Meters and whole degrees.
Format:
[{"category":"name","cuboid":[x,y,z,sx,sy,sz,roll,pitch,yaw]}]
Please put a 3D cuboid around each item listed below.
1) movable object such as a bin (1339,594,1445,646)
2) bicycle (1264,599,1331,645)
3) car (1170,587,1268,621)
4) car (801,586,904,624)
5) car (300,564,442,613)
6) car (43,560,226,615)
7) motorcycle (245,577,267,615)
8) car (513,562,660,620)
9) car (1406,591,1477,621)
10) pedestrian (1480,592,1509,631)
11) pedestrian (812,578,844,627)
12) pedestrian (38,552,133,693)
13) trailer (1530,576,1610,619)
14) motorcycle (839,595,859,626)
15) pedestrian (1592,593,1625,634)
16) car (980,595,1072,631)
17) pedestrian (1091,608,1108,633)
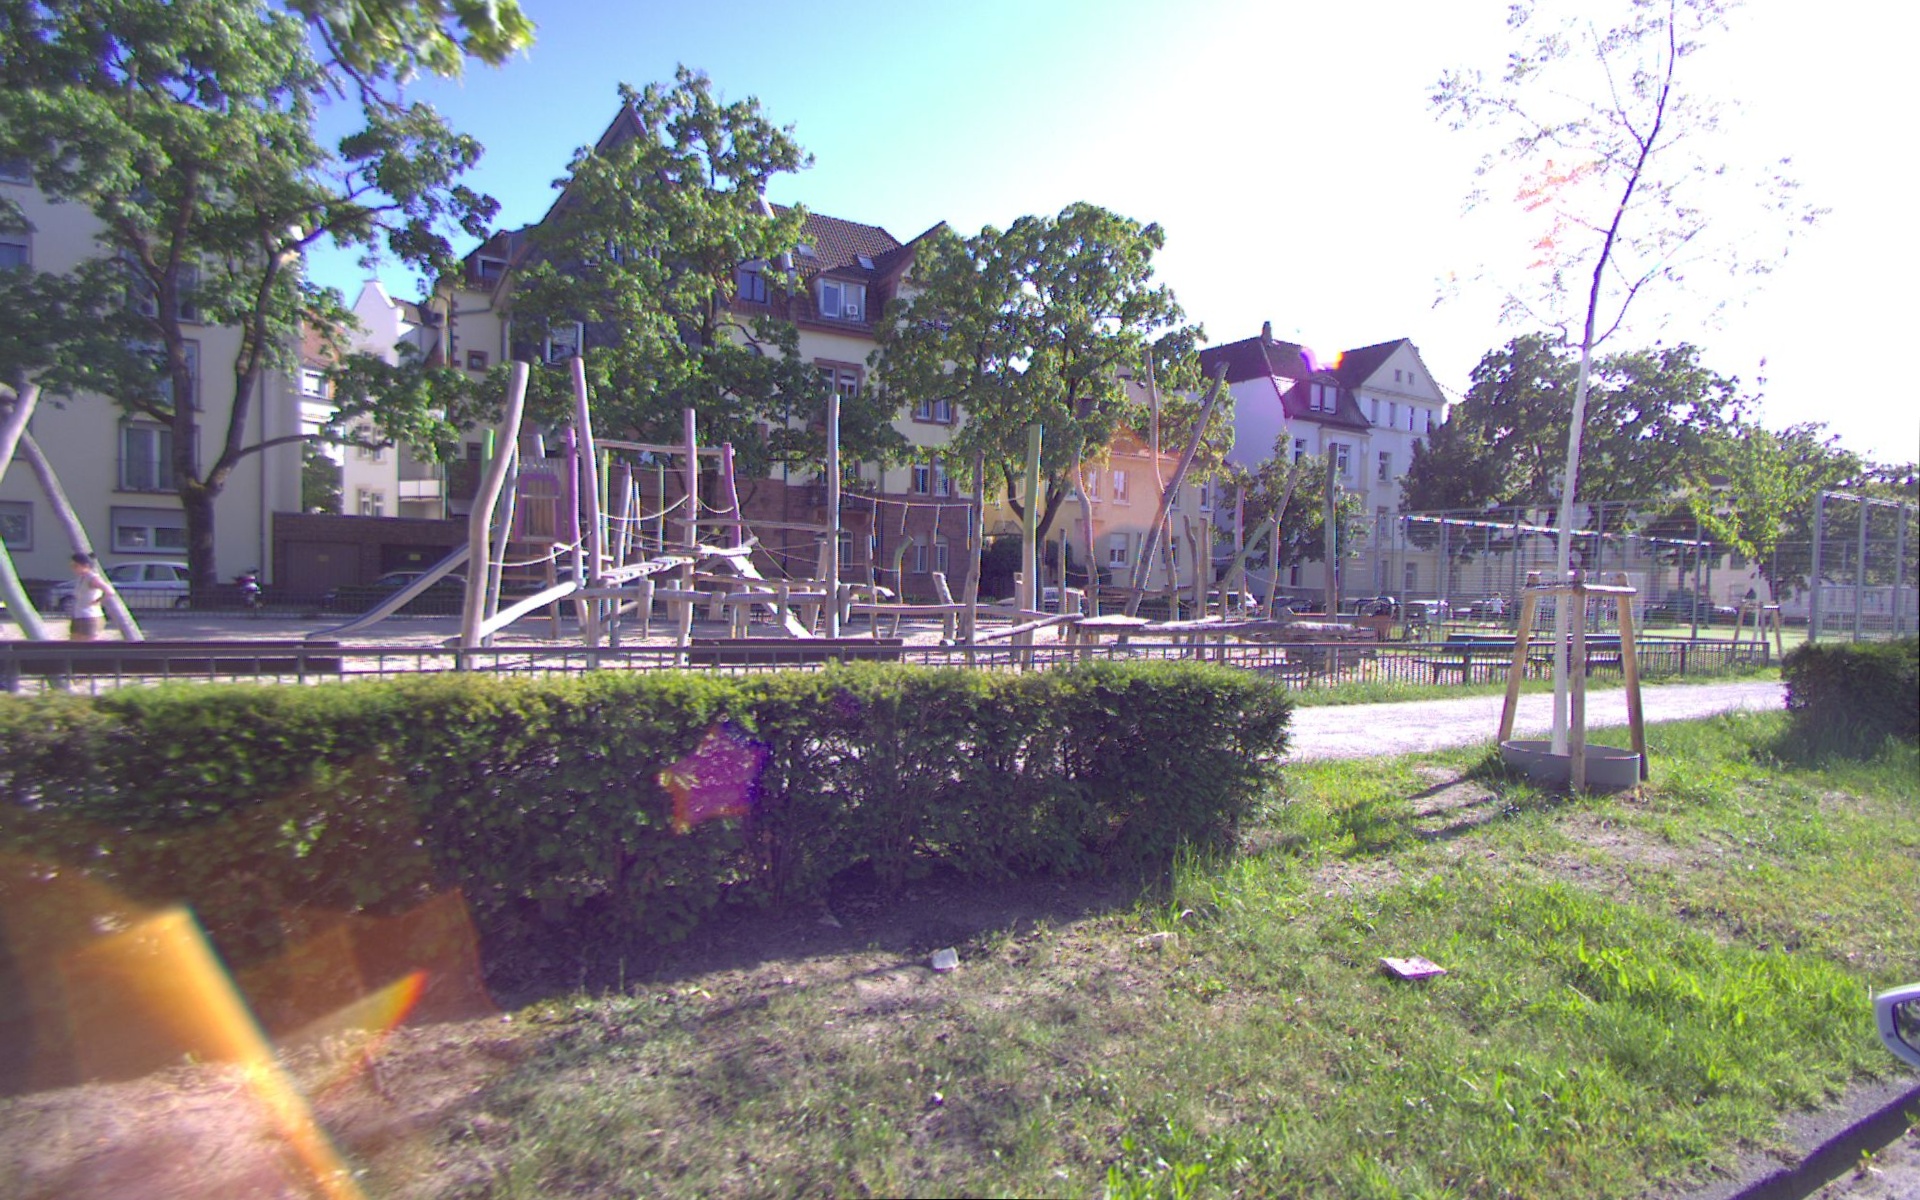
[{"category":"movable object such as a bin","cuboid":[11.086,0.481,25.884,1.045,1.258,2.316,0,1,-33]},{"category":"bicycle","cuboid":[9.009,0.568,26.851,0.494,1.122,1.785,0,2,-31]},{"category":"car","cuboid":[13.638,0.234,52.741,5.121,1.674,1.872,1,2,-30]},{"category":"car","cuboid":[-4.531,0.208,42.352,3.953,1.530,1.785,1,2,-30]},{"category":"car","cuboid":[-19.387,-0.374,33.206,3.953,1.530,1.785,1,2,-30]},{"category":"car","cuboid":[-24.547,-0.367,30.067,3.953,1.530,1.785,1,2,-30]},{"category":"motorcycle","cuboid":[-22.129,-0.142,31.546,0.495,1.122,1.781,1,1,-37]},{"category":"car","cuboid":[-13.556,-0.321,36.495,4.778,2.009,1.785,1,2,-30]},{"category":"car","cuboid":[30.215,0.383,62.992,4.435,1.801,1.785,1,2,-30]},{"category":"pedestrian","cuboid":[19.041,0.396,35.780,0.637,1.336,0.650,1,2,-1]},{"category":"pedestrian","cuboid":[-3.683,0.063,27.955,0.643,1.336,0.644,0,2,-33]},{"category":"pedestrian","cuboid":[-10.774,0.272,12.397,0.639,1.684,0.648,1,2,-12]},{"category":"trailer","cuboid":[43.064,-0.161,70.866,5.736,2.909,2.331,1,2,-31]},{"category":"motorcycle","cuboid":[-3.141,0.302,28.497,0.281,0.838,0.698,0,2,-31]},{"category":"pedestrian","cuboid":[21.774,0.461,33.715,0.637,1.336,0.650,1,2,-1]},{"category":"car","cuboid":[3.075,0.592,46.632,3.953,1.530,1.785,1,2,-30]},{"category":"pedestrian","cuboid":[4.728,0.703,33.997,0.354,0.815,0.481,0,2,-28]}]
